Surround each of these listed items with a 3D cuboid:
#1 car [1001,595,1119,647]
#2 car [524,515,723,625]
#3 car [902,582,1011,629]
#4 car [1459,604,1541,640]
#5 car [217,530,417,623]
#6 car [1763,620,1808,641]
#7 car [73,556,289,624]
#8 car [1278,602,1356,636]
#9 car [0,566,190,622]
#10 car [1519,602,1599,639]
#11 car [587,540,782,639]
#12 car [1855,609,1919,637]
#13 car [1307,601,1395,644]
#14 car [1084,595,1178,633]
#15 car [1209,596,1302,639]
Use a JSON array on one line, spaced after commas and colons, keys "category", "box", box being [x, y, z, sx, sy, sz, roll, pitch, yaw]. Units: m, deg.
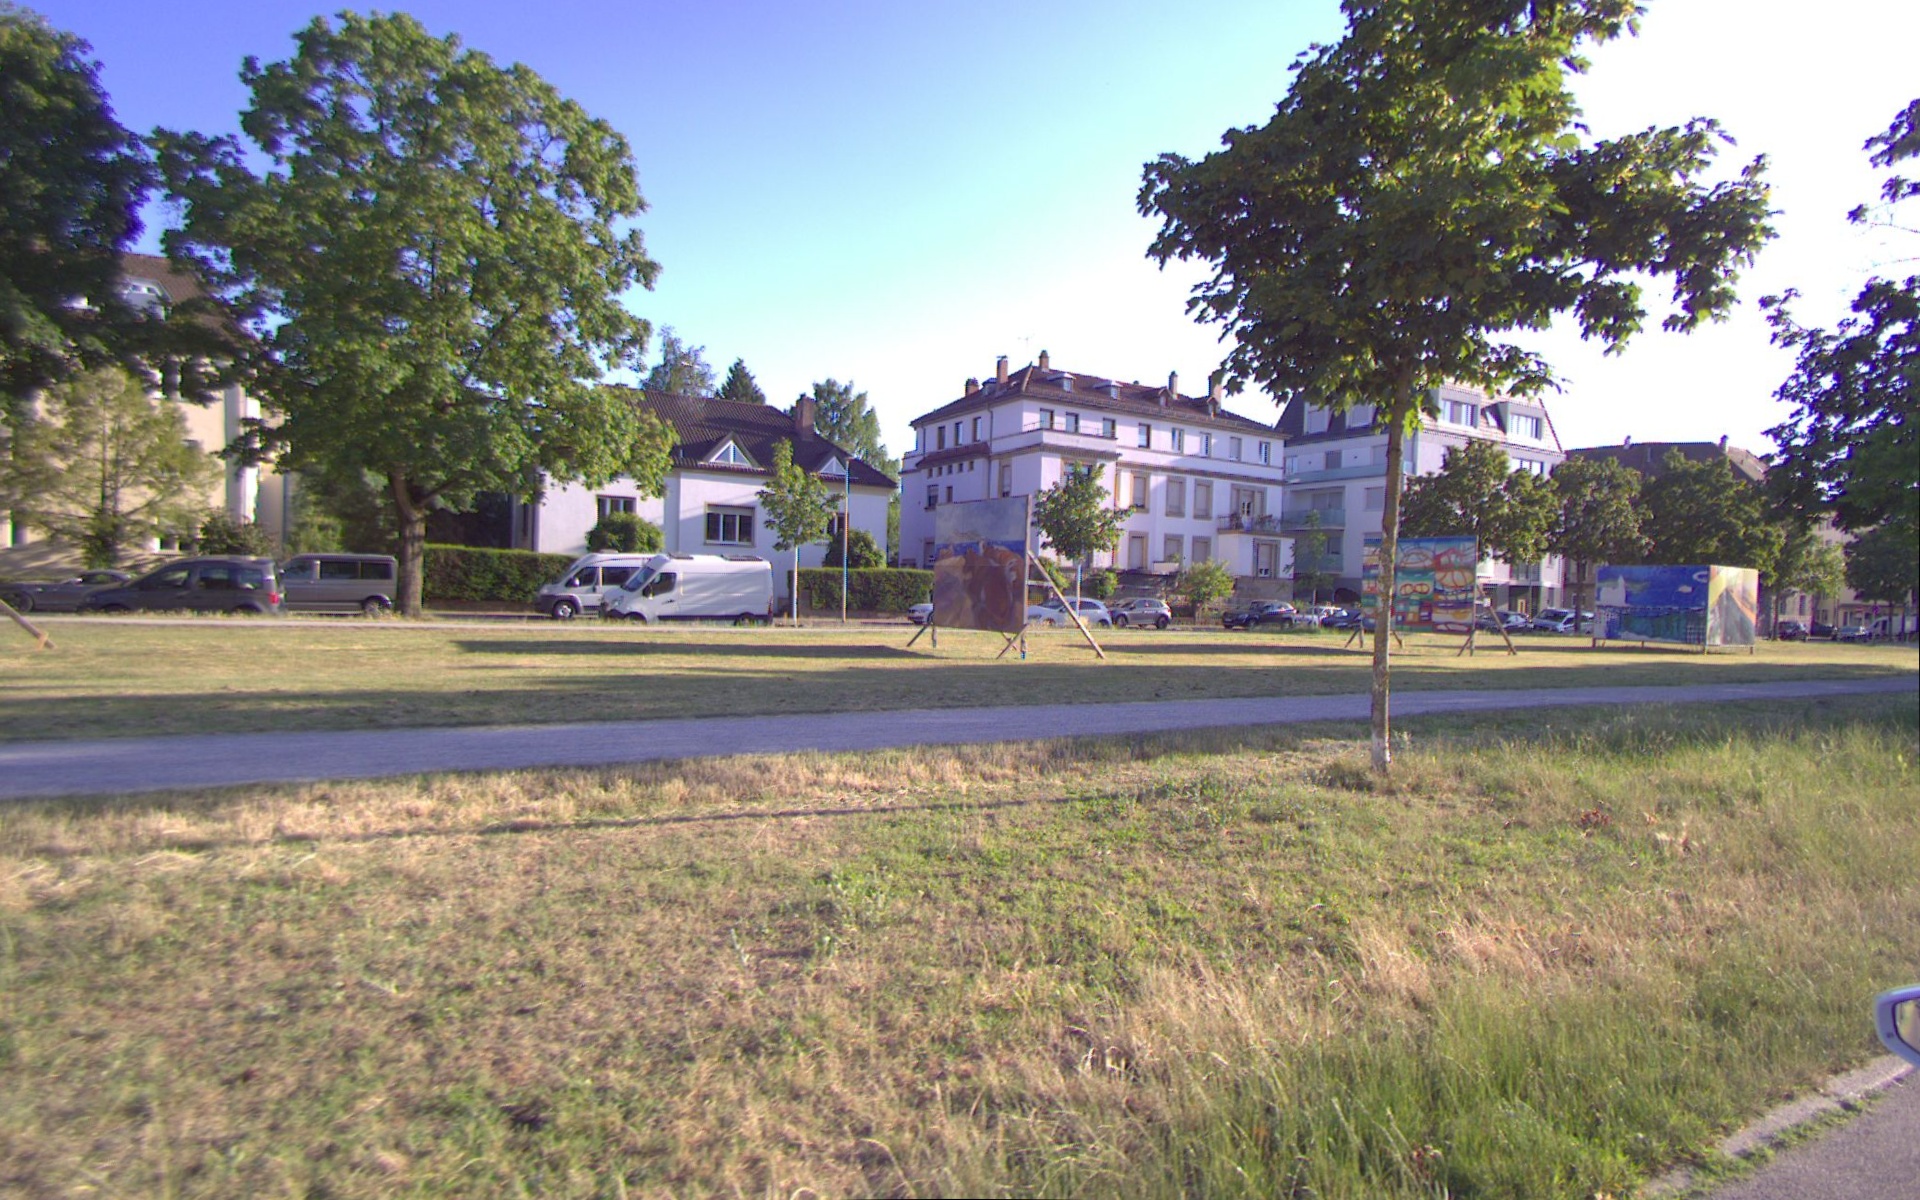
[{"category": "car", "box": [4.120, 0.907, 41.166, 4.587, 1.924, 1.826, 3, -3, -29]}, {"category": "car", "box": [-12.551, -0.978, 37.650, 6.686, 3.605, 2.293, 3, -3, -30]}, {"category": "car", "box": [-0.135, 0.294, 45.268, 4.660, 1.878, 1.722, 3, -3, -31]}, {"category": "car", "box": [30.370, 1.257, 56.455, 4.637, 1.852, 1.920, 3, -3, -30]}, {"category": "car", "box": [-20.881, -0.659, 32.916, 5.267, 2.638, 2.124, 3, -3, -32]}, {"category": "car", "box": [71.872, 2.686, 87.435, 4.242, 1.729, 1.637, 3, -3, -29]}, {"category": "car", "box": [-20.069, -0.244, 26.115, 4.261, 1.585, 1.406, 2, 1, -31]}, {"category": "car", "box": [20.527, 1.101, 57.697, 4.406, 1.767, 1.814, 3, -3, -29]}, {"category": "car", "box": [-26.085, -0.132, 30.020, 4.502, 1.421, 1.987, 3, -3, -27]}, {"category": "car", "box": [35.745, 1.268, 59.860, 5.315, 2.027, 2.007, 3, -4, -34]}, {"category": "car", "box": [-9.016, -0.229, 33.065, 5.802, 2.862, 2.250, 3, -3, -30]}, {"category": "car", "box": [99.453, 2.431, 106.704, 6.203, 2.756, 1.999, 2, 1, 30]}, {"category": "car", "box": [19.588, 1.166, 50.303, 4.277, 1.941, 1.881, 3, -3, -30]}, {"category": "car", "box": [8.599, 0.742, 50.430, 4.613, 1.725, 1.773, 3, -3, -30]}, {"category": "car", "box": [16.258, 0.985, 55.283, 4.795, 2.158, 2.229, 3, -3, -29]}]
